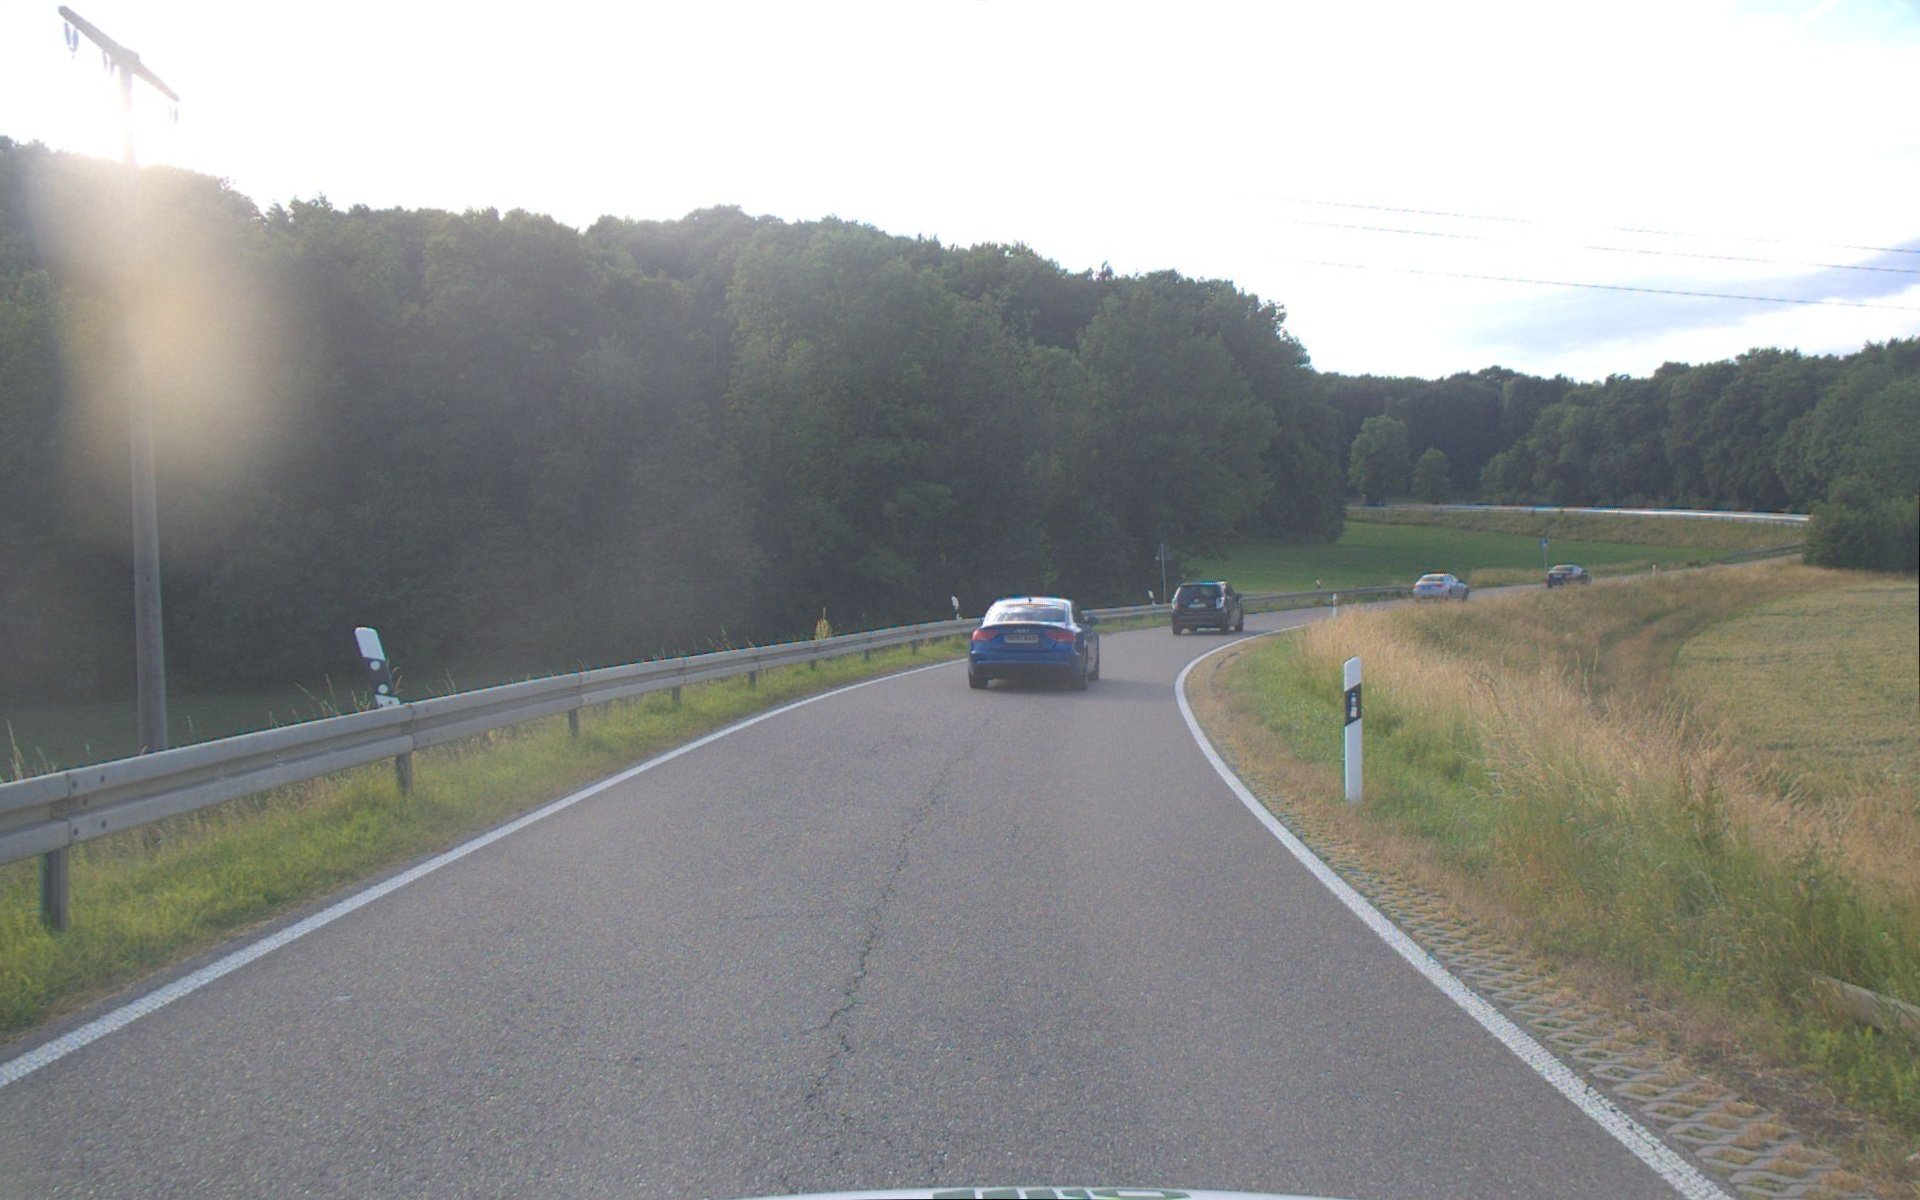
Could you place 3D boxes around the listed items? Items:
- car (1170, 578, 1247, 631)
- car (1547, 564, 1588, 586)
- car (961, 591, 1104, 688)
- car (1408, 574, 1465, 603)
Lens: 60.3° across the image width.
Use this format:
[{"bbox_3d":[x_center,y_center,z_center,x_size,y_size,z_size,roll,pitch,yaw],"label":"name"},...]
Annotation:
[{"bbox_3d":[7.879,0.120,52.191,1.822,1.596,4.002,-1,0,17],"label":"car"},{"bbox_3d":[38.345,-1.594,104.396,1.448,1.248,3.285,-3,0,38],"label":"car"},{"bbox_3d":[1.233,0.576,26.134,1.780,1.362,4.353,1,0,9],"label":"car"},{"bbox_3d":[24.700,-0.603,85.709,1.653,1.400,3.988,-3,0,34],"label":"car"}]
